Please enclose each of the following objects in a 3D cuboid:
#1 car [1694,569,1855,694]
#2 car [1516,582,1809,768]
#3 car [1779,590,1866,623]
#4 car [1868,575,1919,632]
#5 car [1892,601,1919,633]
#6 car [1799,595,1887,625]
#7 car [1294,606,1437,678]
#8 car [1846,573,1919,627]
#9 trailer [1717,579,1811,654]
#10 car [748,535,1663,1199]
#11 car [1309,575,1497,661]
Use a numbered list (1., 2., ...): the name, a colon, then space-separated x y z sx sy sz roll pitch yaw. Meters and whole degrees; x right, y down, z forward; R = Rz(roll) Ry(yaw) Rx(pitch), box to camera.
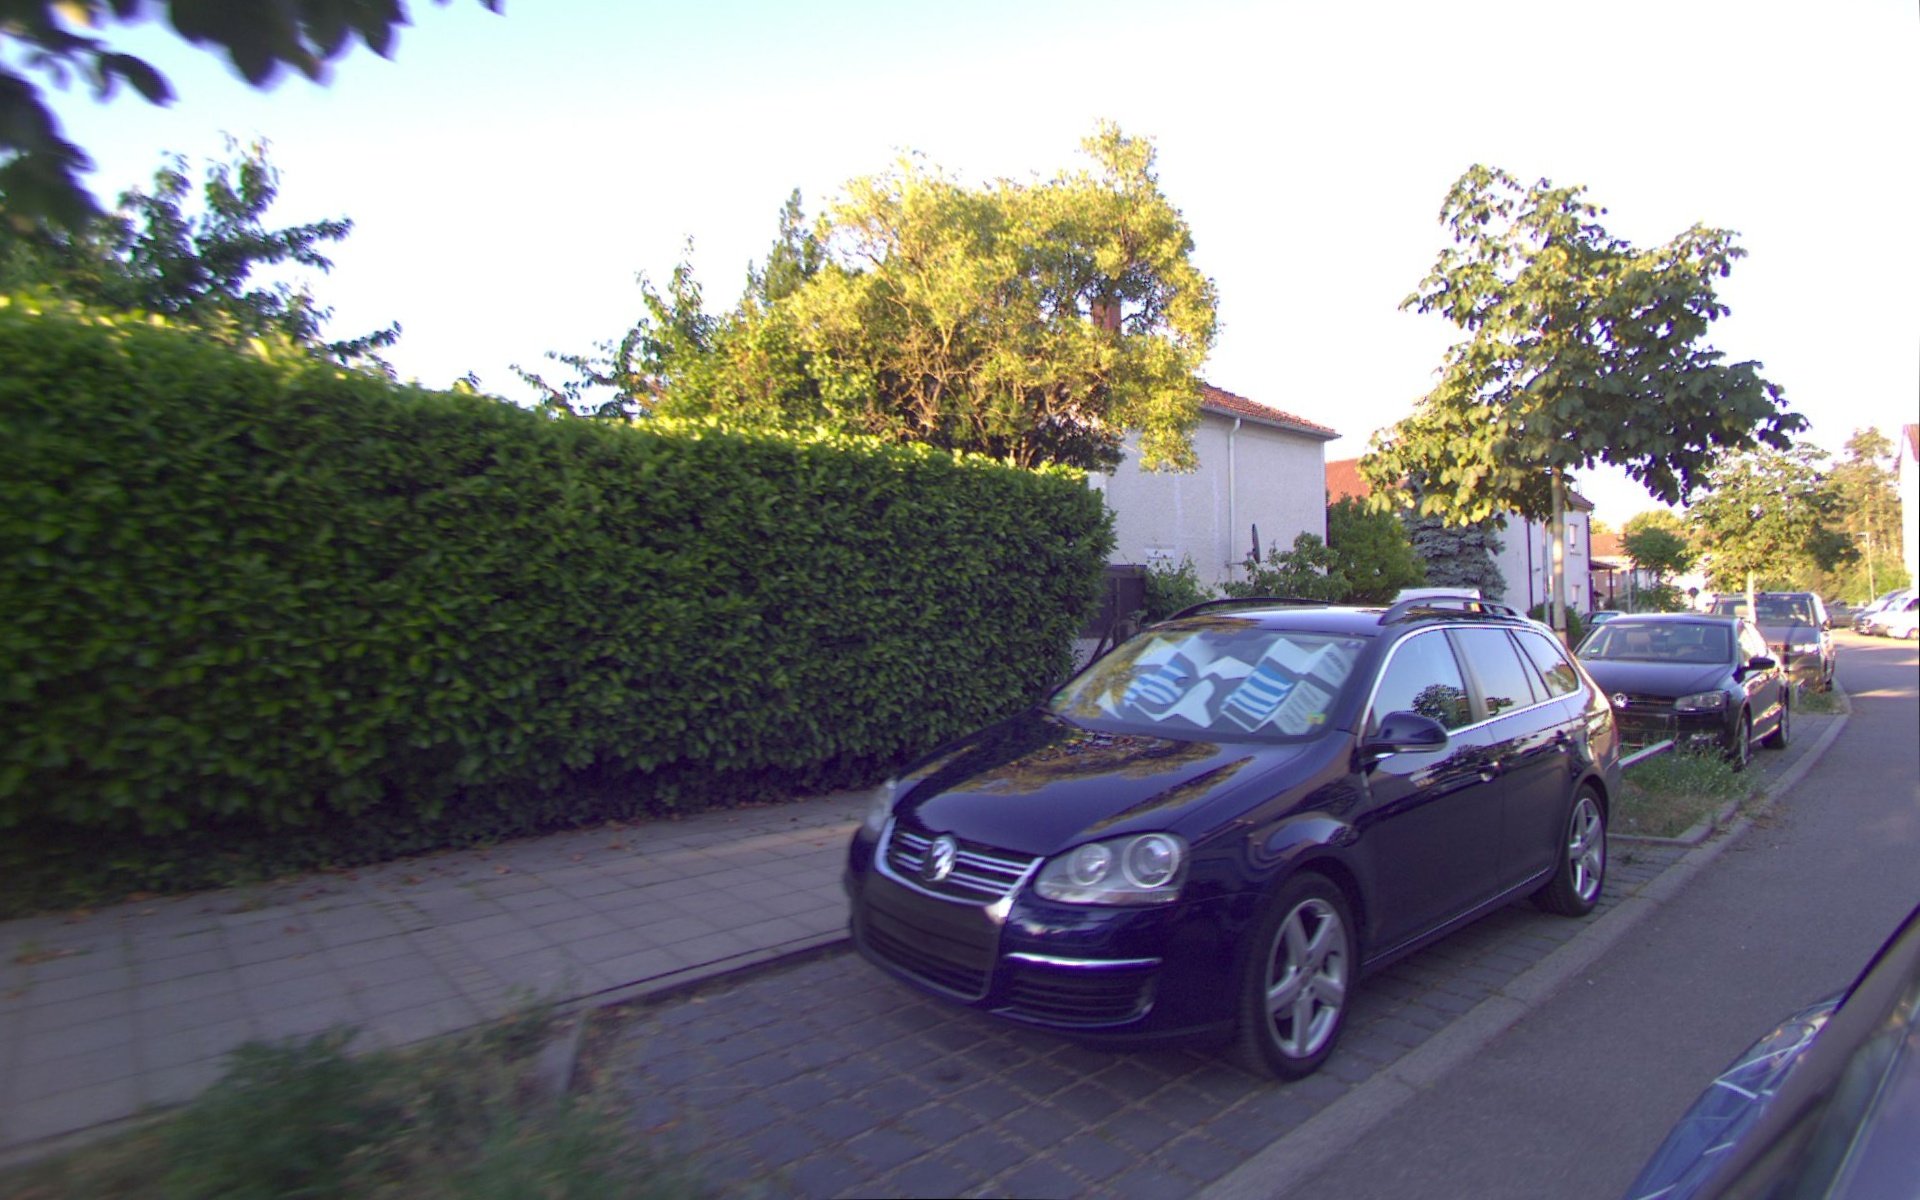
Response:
1. car: 15.972 0.570 19.746 2.065 2.122 4.795 -2 -2 43
2. car: 7.314 0.655 10.417 3.578 1.572 1.742 0 -2 -43
3. car: 57.295 0.431 67.310 3.885 1.936 1.737 -4 -3 18
4. car: 49.906 0.053 50.892 5.791 2.748 2.029 -4 -3 29
5. car: 48.016 0.753 48.956 3.906 1.526 1.770 -3 -2 32
6. car: 56.543 0.659 64.892 3.909 1.674 1.727 -5 -3 34
7. car: 8.962 0.874 22.247 3.578 1.463 1.529 0 -2 -43
8. car: 52.311 -0.112 54.534 6.337 2.748 2.096 -4 -2 24
9. trailer: 25.763 0.522 32.601 2.058 2.240 5.154 -1 -1 36
10. car: 1.460 0.653 4.523 4.469 1.570 1.713 0 -1 -41
11. car: 15.200 0.693 34.997 2.019 2.728 5.565 3 -4 -44
